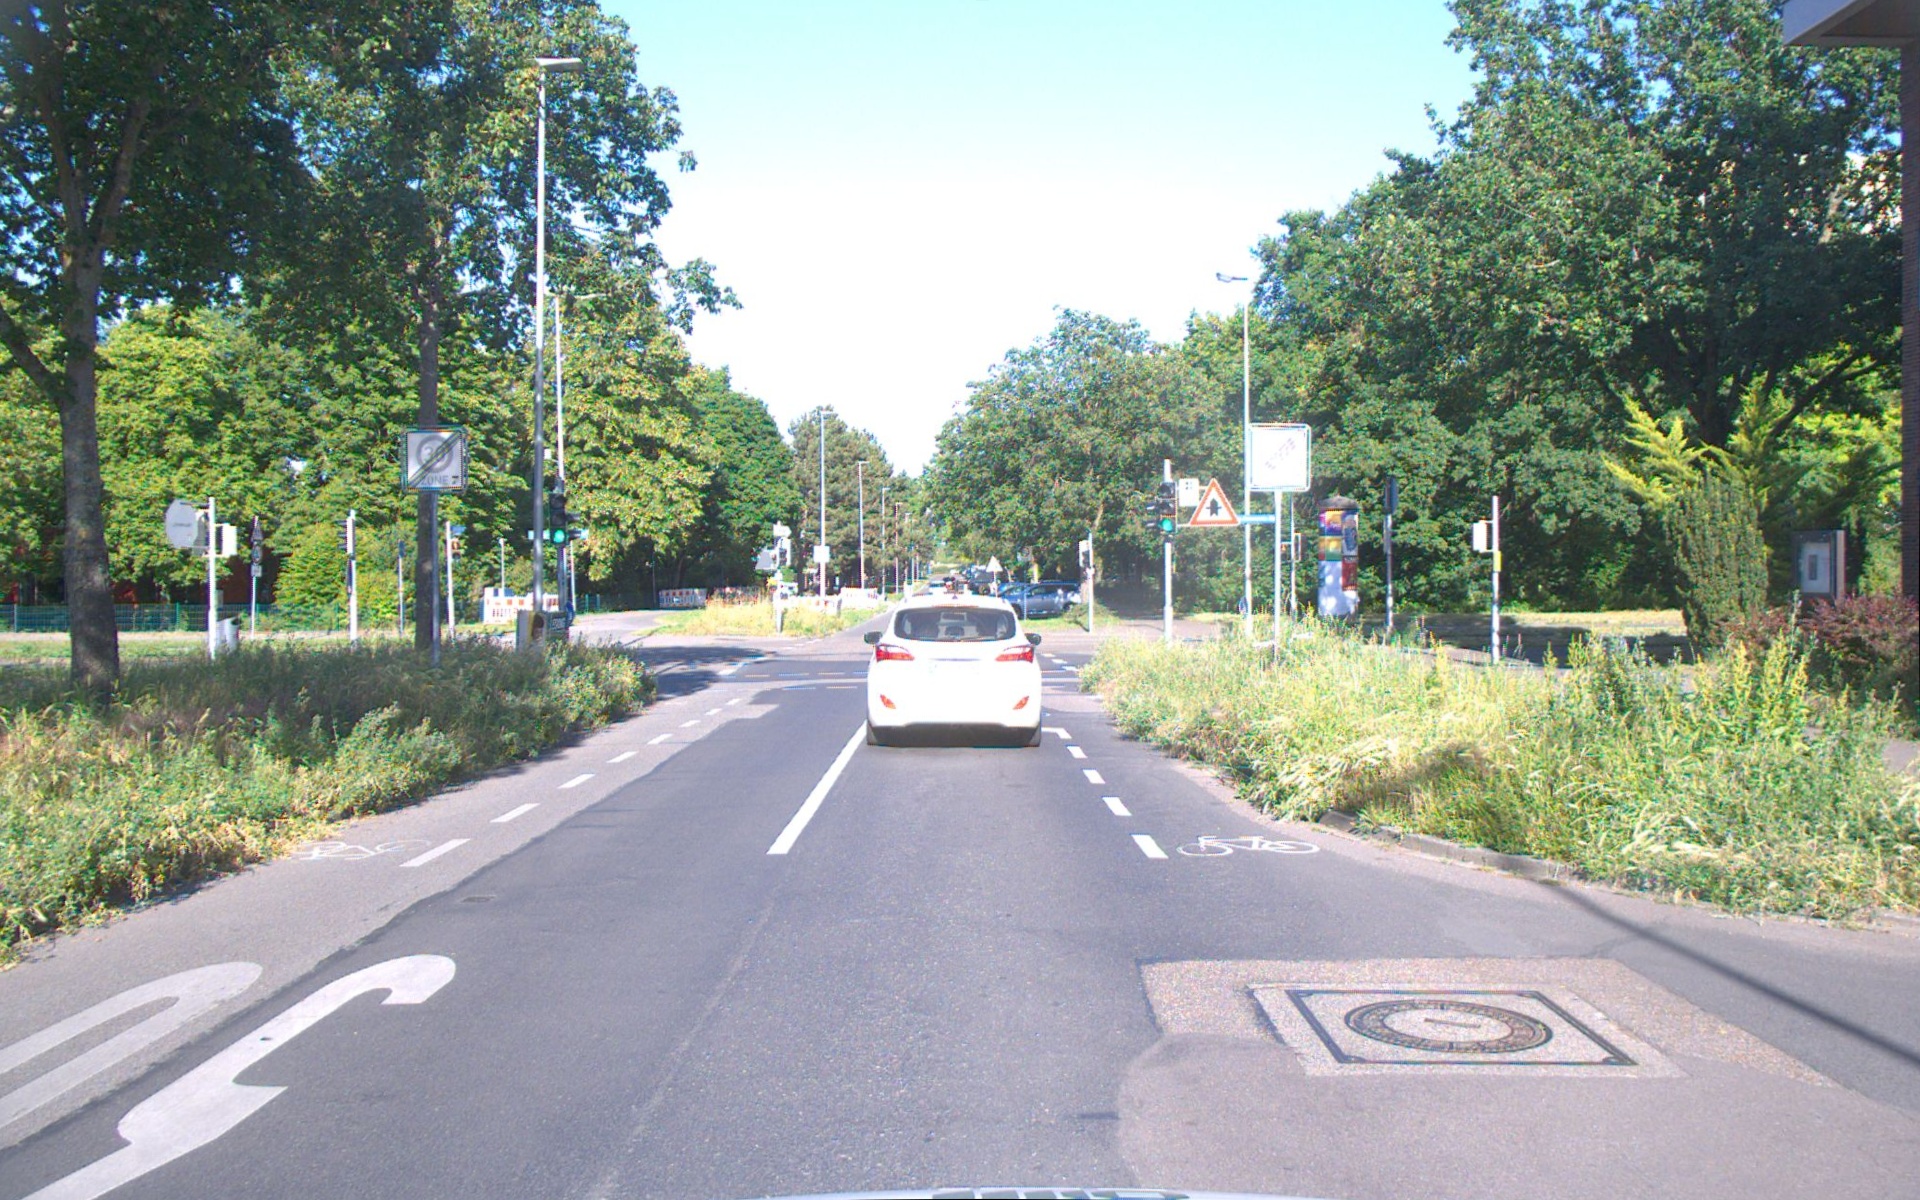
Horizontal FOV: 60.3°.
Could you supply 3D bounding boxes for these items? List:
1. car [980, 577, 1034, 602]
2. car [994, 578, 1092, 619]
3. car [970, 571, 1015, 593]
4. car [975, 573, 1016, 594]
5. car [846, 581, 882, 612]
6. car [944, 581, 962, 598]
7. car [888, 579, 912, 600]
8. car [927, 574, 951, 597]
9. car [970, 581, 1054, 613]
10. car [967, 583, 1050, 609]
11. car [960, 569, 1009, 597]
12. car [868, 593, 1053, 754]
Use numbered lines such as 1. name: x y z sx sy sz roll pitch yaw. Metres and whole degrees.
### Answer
1. car: 3.348 -0.747 117.902 3.741 1.713 1.863 1 0 0
2. car: 3.805 -0.064 75.837 4.405 1.814 1.855 0 0 2
3. car: 3.021 -1.703 155.255 4.214 1.941 1.863 1 0 0
4. car: 3.254 -1.517 152.108 3.741 1.798 1.863 1 0 0
5. car: -5.782 -0.207 100.140 1.953 1.847 4.000 1 0 0
6. car: -0.781 -1.149 181.068 1.953 1.847 4.000 1 0 0
7. car: -5.355 -0.971 148.272 1.953 1.847 4.000 1 0 0
8. car: -1.753 -1.234 140.494 1.953 1.847 4.000 2 0 0
9. car: 2.777 -0.178 87.962 4.405 1.658 1.855 0 0 2
10. car: 3.263 -0.268 111.310 5.499 1.713 1.948 1 0 0
11. car: 1.889 -1.325 127.929 3.741 2.135 1.863 1 0 0
12. car: 0.004 0.688 17.661 1.753 1.489 3.963 0 1 0
